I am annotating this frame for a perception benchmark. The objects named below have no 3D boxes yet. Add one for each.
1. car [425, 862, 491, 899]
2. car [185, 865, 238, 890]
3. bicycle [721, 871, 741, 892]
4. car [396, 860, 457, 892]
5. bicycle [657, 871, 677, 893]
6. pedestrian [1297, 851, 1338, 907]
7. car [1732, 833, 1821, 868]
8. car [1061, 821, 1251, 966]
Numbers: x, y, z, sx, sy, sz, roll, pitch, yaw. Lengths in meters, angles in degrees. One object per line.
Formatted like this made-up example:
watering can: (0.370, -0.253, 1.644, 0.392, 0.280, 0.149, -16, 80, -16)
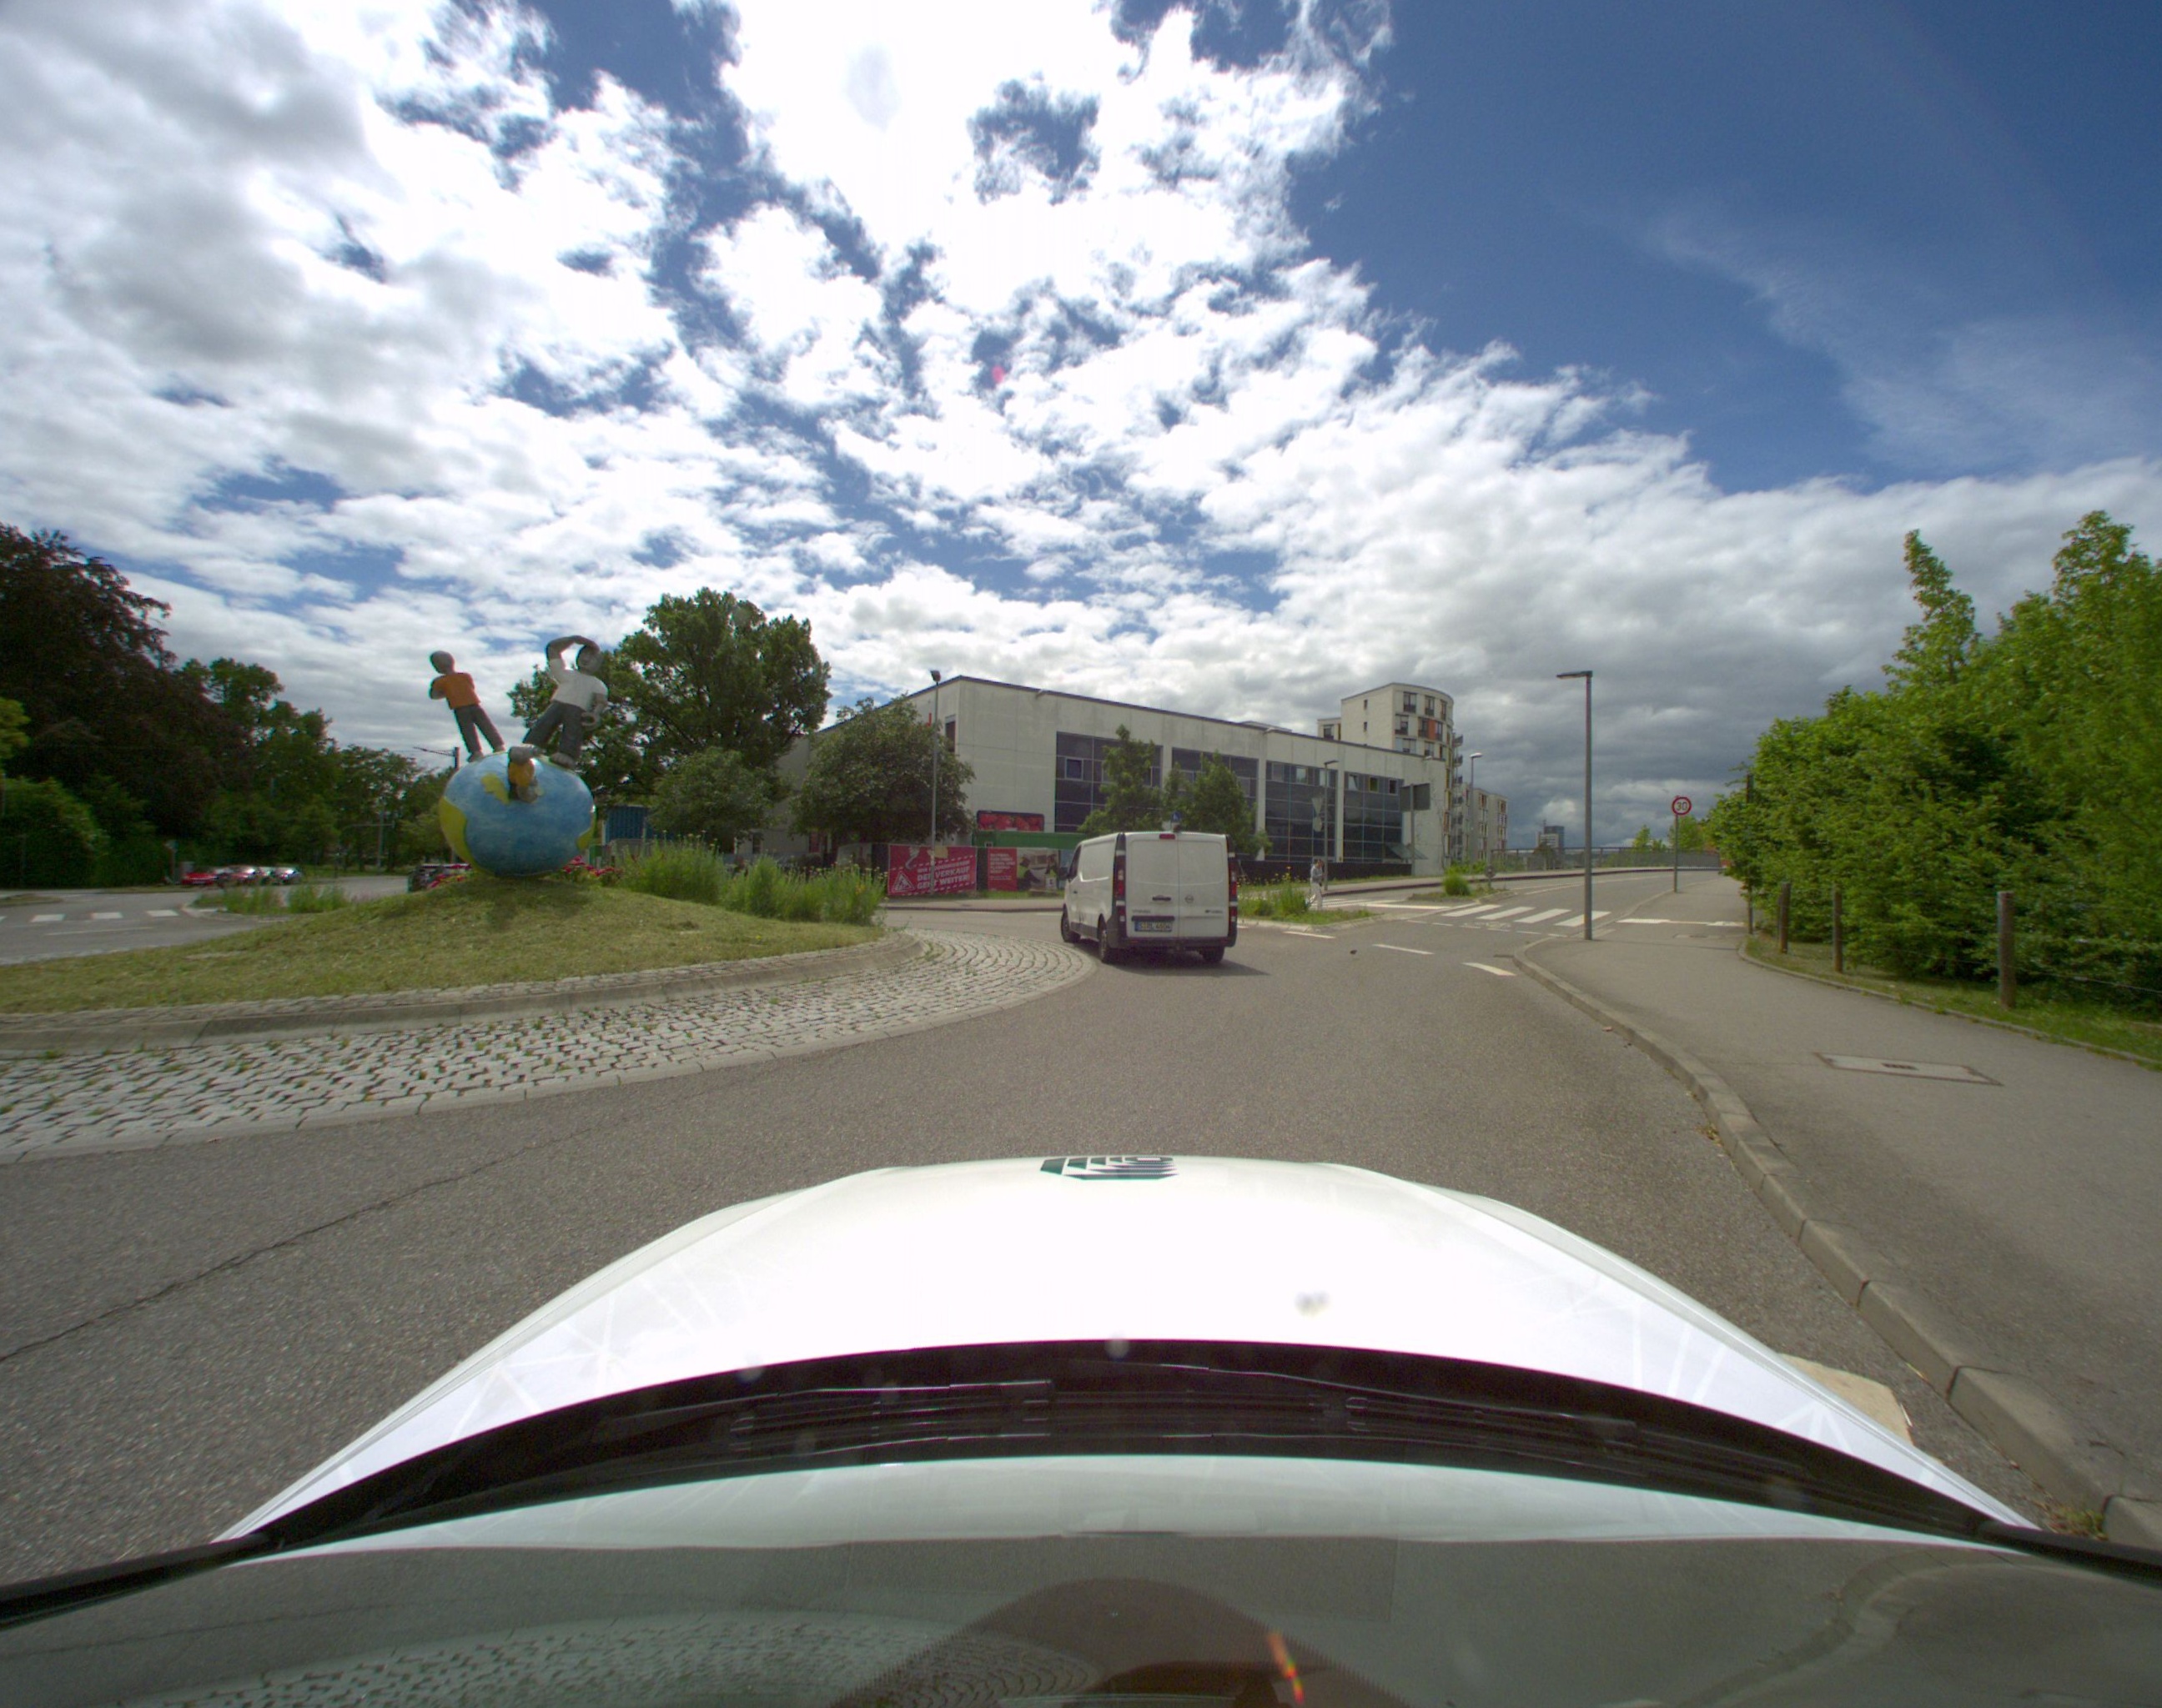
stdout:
car: (-28.438, 1.172, 37.288, 1.945, 1.537, 3.886, 2, -1, -31)
car: (-54.037, 1.469, 50.687, 2.081, 1.386, 3.998, 2, -1, -45)
bicycle: (-18.818, 1.453, 43.751, 0.544, 1.049, 1.948, 4, -2, -35)
car: (-34.192, 1.114, 42.514, 3.876, 1.500, 1.937, 1, -1, 44)
bicycle: (-21.182, 1.430, 41.693, 0.632, 1.049, 2.056, 3, -2, -22)
pedestrian: (6.870, 0.731, 23.665, 1.027, 1.541, 0.898, 2, -2, 11)
car: (35.679, -0.152, 41.780, 4.004, 1.453, 1.898, 4, -2, -24)
car: (1.003, 0.614, 13.818, 2.034, 1.945, 4.978, 3, -2, -8)
